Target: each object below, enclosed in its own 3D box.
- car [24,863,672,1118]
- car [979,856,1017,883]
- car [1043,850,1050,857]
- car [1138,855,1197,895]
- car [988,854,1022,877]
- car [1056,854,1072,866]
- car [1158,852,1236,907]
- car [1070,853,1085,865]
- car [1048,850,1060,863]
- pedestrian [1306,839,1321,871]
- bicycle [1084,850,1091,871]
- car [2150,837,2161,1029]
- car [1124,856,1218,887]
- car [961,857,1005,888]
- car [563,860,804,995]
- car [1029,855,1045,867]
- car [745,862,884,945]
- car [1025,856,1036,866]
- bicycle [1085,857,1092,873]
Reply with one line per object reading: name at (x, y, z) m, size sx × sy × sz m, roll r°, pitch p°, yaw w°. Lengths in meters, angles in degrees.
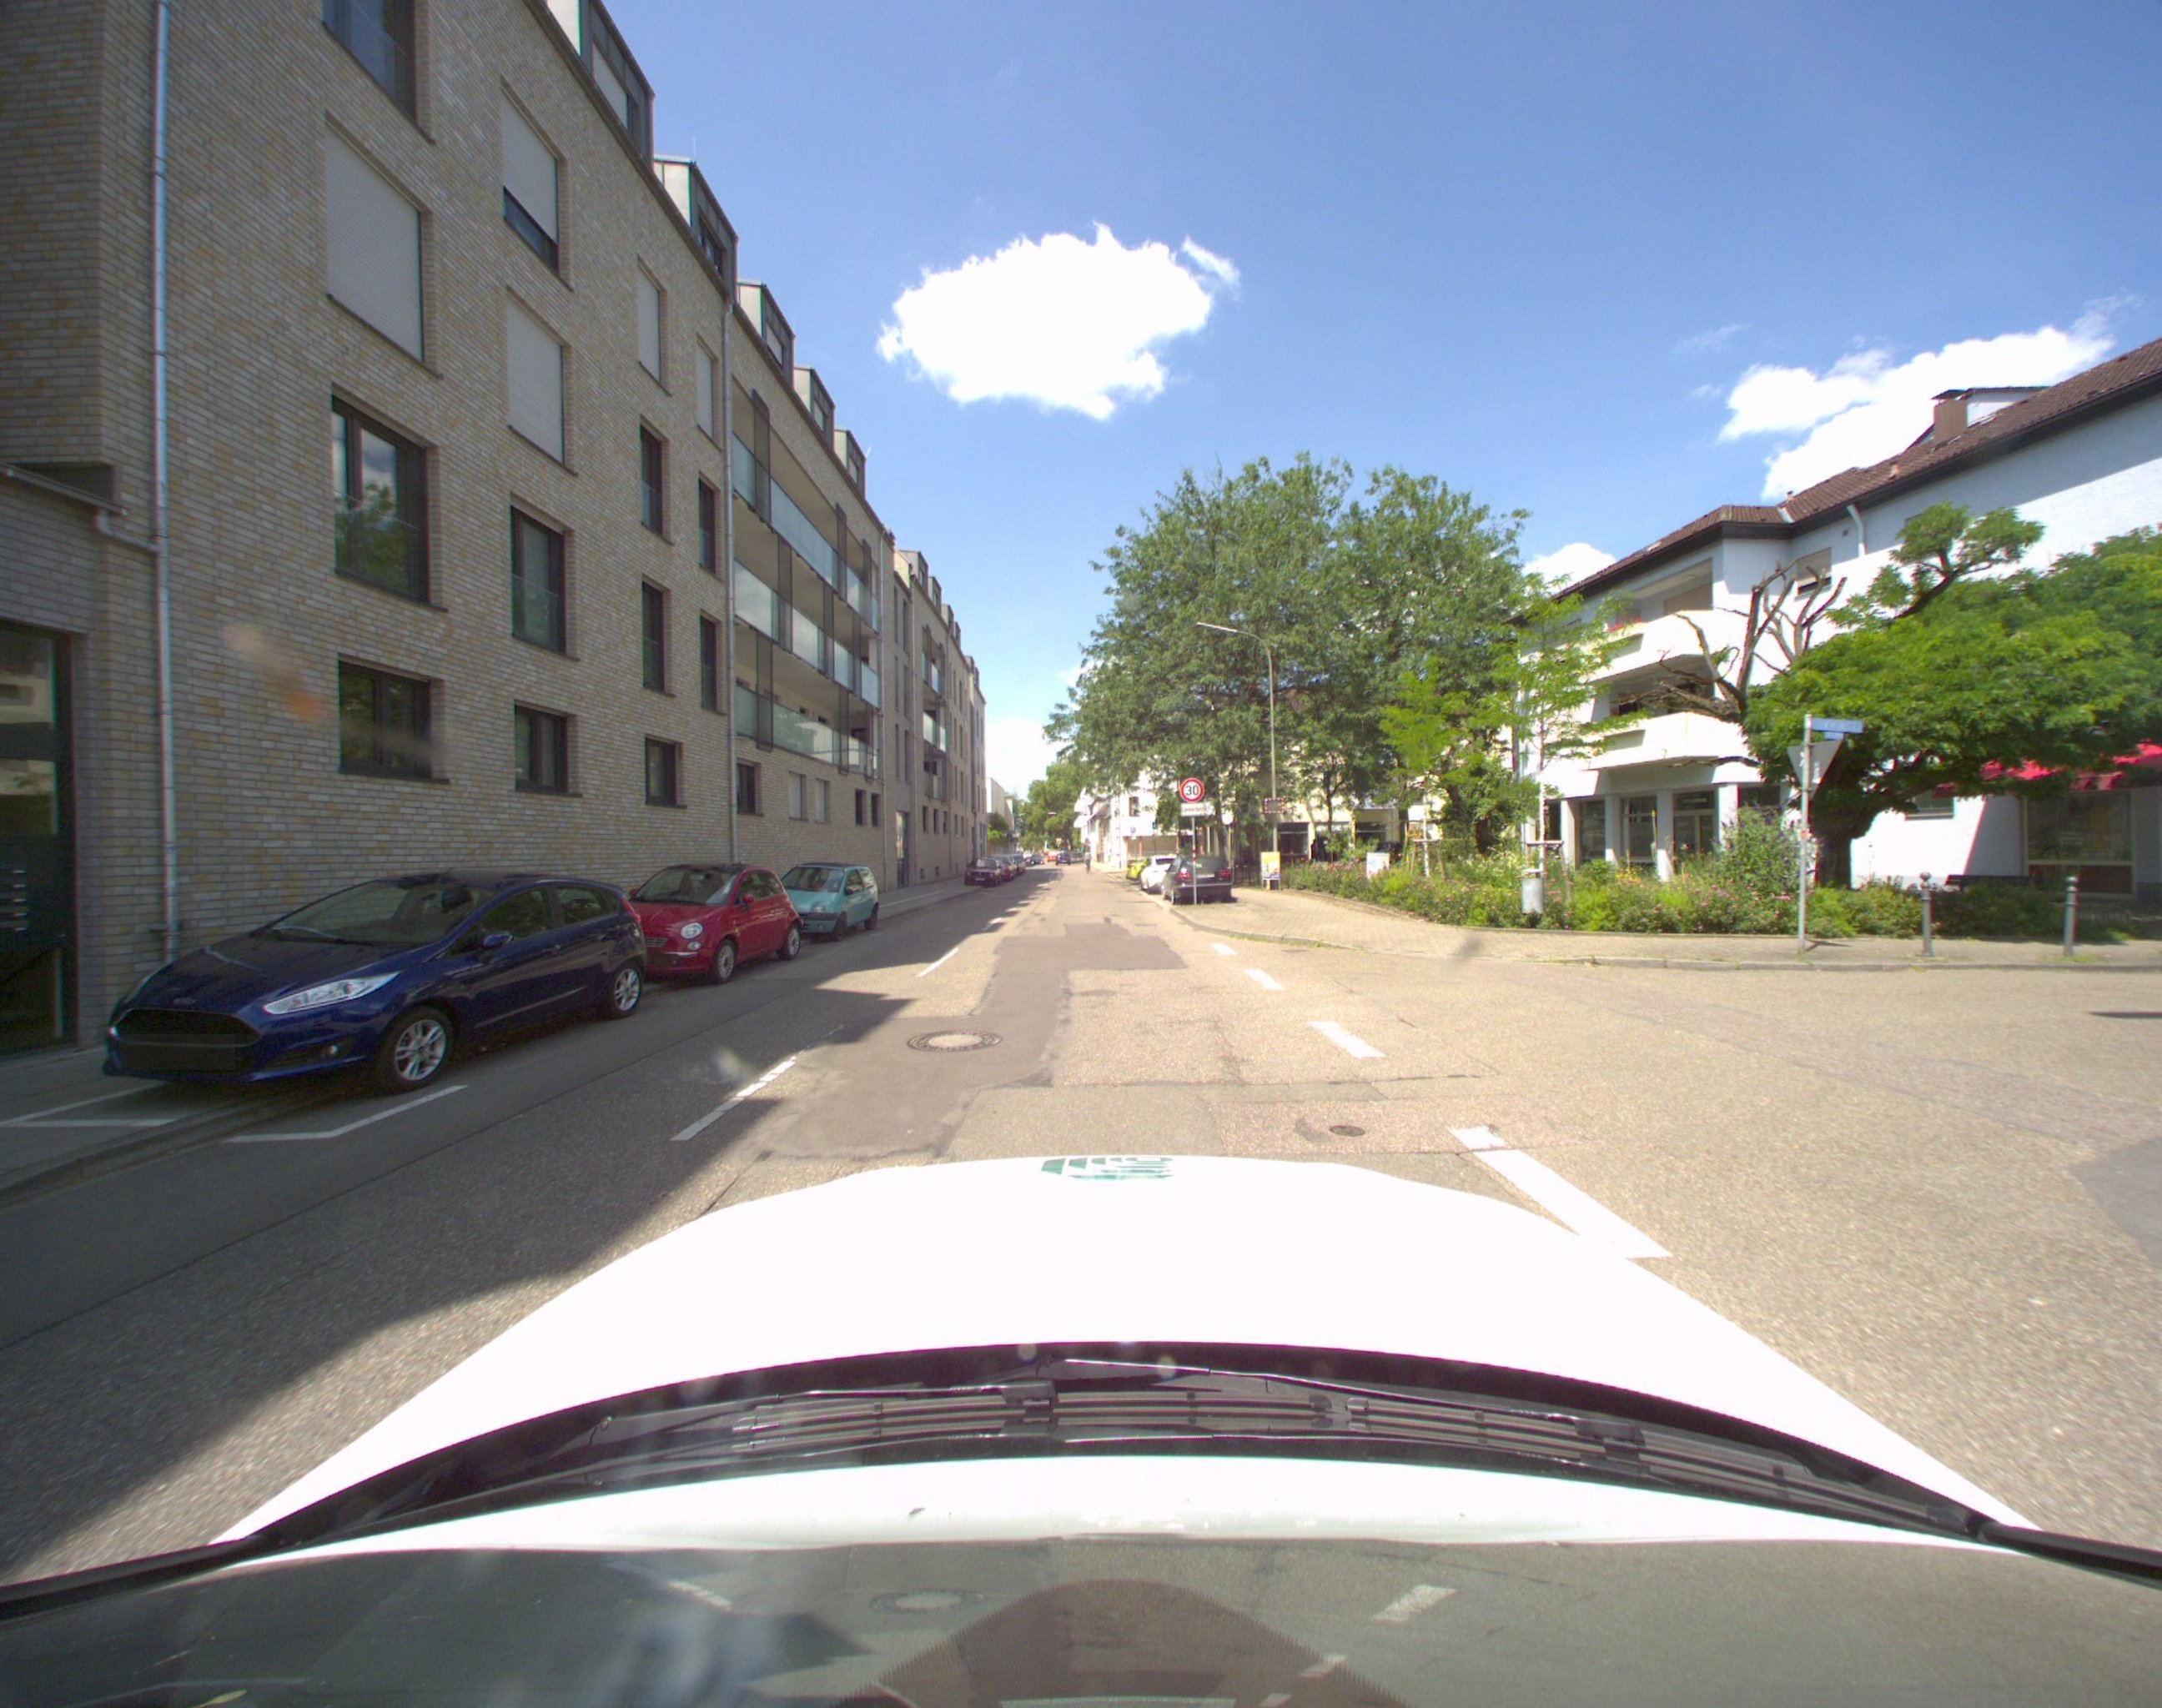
car at (-5.372, 0.834, 6.849) m, size 1.716 × 1.456 × 4.007 m, roll 0°, pitch 0°, yaw 2°
car at (-4.745, 0.878, 46.913) m, size 1.727 × 1.442 × 3.999 m, roll -1°, pitch 0°, yaw 0°
car at (-10.076, -0.077, 236.839) m, size 2.152 × 2.013 × 3.995 m, roll -1°, pitch 0°, yaw -3°
car at (3.252, 0.764, 31.296) m, size 1.773 × 1.420 × 3.999 m, roll -1°, pitch 0°, yaw 0°
car at (-5.008, 0.752, 54.124) m, size 1.820 × 1.420 × 4.001 m, roll 1°, pitch 0°, yaw 1°
car at (-1.972, 0.693, 95.664) m, size 1.709 × 1.402 × 4.001 m, roll -1°, pitch 0°, yaw 1°
car at (3.412, 0.704, 24.612) m, size 1.687 × 1.420 × 3.999 m, roll -4°, pitch 0°, yaw 0°
car at (-0.509, 0.654, 107.276) m, size 1.988 × 1.618 × 3.998 m, roll -1°, pitch 0°, yaw -1°
car at (-4.214, 0.384, 126.702) m, size 1.834 × 2.013 × 3.997 m, roll -1°, pitch 0°, yaw -2°
pedestrian at (13.598, 0.074, 47.661) m, size 0.589 × 1.859 × 0.607 m, roll -1°, pitch 0°, yaw 37°
bicycle at (0.507, 0.458, 59.659) m, size 0.476 × 1.490 × 0.576 m, roll -1°, pitch 0°, yaw -1°
car at (9.967, 0.624, 5.365) m, size 3.587 × 1.448 × 1.742 m, roll 0°, pitch 2°, yaw 0°
car at (4.429, 0.816, 39.628) m, size 4.350 × 1.381 × 2.006 m, roll 1°, pitch 0°, yaw 11°
car at (-4.986, 0.914, 41.869) m, size 1.727 × 1.442 × 3.999 m, roll -1°, pitch 0°, yaw 0°
car at (-5.292, 0.874, 11.387) m, size 1.585 × 1.554 × 3.570 m, roll 0°, pitch 0°, yaw 0°
car at (-5.802, 0.887, 108.532) m, size 1.988 × 1.519 × 3.997 m, roll -1°, pitch 0°, yaw -2°
car at (-5.281, 0.919, 16.634) m, size 1.585 × 1.456 × 3.703 m, roll 1°, pitch 0°, yaw 0°
car at (-10.608, 1.380, 170.790) m, size 1.987 × 2.013 × 3.999 m, roll -1°, pitch 0°, yaw 0°
bicycle at (0.522, 0.817, 59.640) m, size 0.481 × 1.114 × 1.195 m, roll -1°, pitch 0°, yaw 0°
